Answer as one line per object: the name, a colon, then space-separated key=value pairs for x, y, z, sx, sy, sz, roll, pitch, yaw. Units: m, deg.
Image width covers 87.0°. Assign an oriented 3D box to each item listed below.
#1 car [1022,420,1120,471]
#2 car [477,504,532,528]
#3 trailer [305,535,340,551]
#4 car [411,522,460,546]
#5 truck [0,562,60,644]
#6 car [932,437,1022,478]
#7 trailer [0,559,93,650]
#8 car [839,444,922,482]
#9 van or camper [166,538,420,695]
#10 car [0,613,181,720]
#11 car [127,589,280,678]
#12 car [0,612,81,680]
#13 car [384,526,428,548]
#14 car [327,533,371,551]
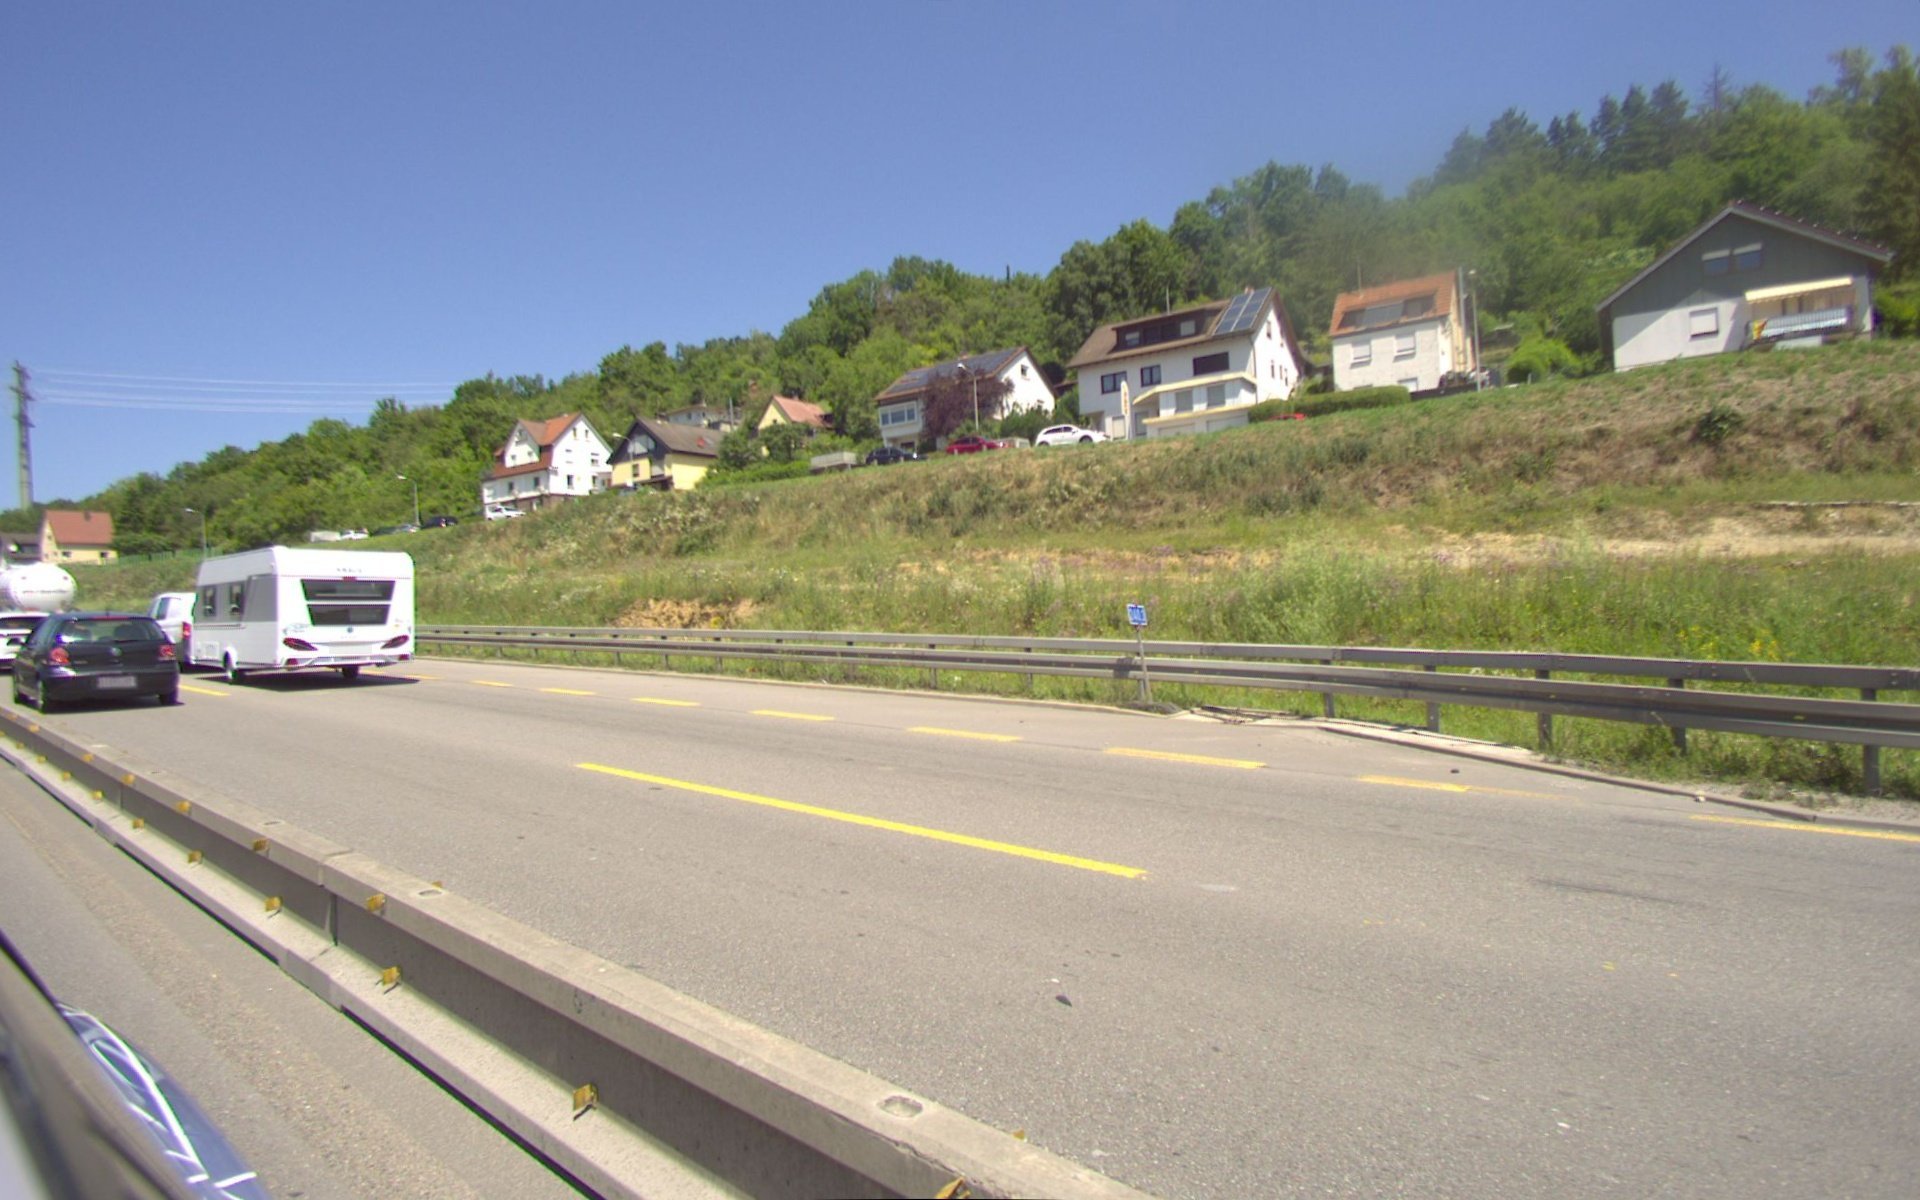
car: x=5.986 y=-8.314 z=54.883 sx=4.811 sy=2.056 sz=2.325 roll=1 pitch=1 yaw=38
car: x=-39.417 y=-7.252 z=87.530 sx=4.999 sy=1.807 sz=1.977 roll=1 pitch=1 yaw=34
trailer: x=-66.565 y=-5.948 z=105.705 sx=3.025 sy=1.527 sz=1.889 roll=1 pitch=1 yaw=30
car: x=-48.945 y=-6.097 z=94.464 sx=4.963 sy=2.023 sz=2.052 roll=1 pitch=1 yaw=36
truck: x=-45.347 y=0.185 z=48.278 sx=6.272 sy=3.700 sz=2.751 roll=-1 pitch=0 yaw=40
car: x=0.966 y=-8.209 z=58.676 sx=4.795 sy=1.807 sz=2.326 roll=1 pitch=1 yaw=38
trailer: x=-41.686 y=0.229 z=45.198 sx=11.786 sy=3.621 sz=2.689 roll=-1 pitch=0 yaw=41
car: x=-4.841 y=-8.256 z=61.343 sx=4.752 sy=1.807 sz=2.160 roll=1 pitch=1 yaw=34
van or camper: x=-13.912 y=0.326 z=20.777 sx=7.853 sy=2.696 sz=2.332 roll=-1 pitch=-1 yaw=41
car: x=-13.548 y=0.933 z=15.615 sx=3.814 sy=1.424 sz=1.649 roll=-1 pitch=0 yaw=40
car: x=-18.864 y=0.767 z=25.139 sx=5.340 sy=1.986 sz=1.973 roll=-1 pitch=-1 yaw=41
car: x=-22.727 y=1.045 z=24.209 sx=4.633 sy=1.491 sz=1.893 roll=-1 pitch=0 yaw=40
car: x=-53.251 y=-6.008 z=97.247 sx=4.421 sy=1.886 sz=1.976 roll=1 pitch=1 yaw=35
car: x=-62.140 y=-5.907 z=102.914 sx=4.537 sy=1.668 sz=1.979 roll=1 pitch=1 yaw=32
